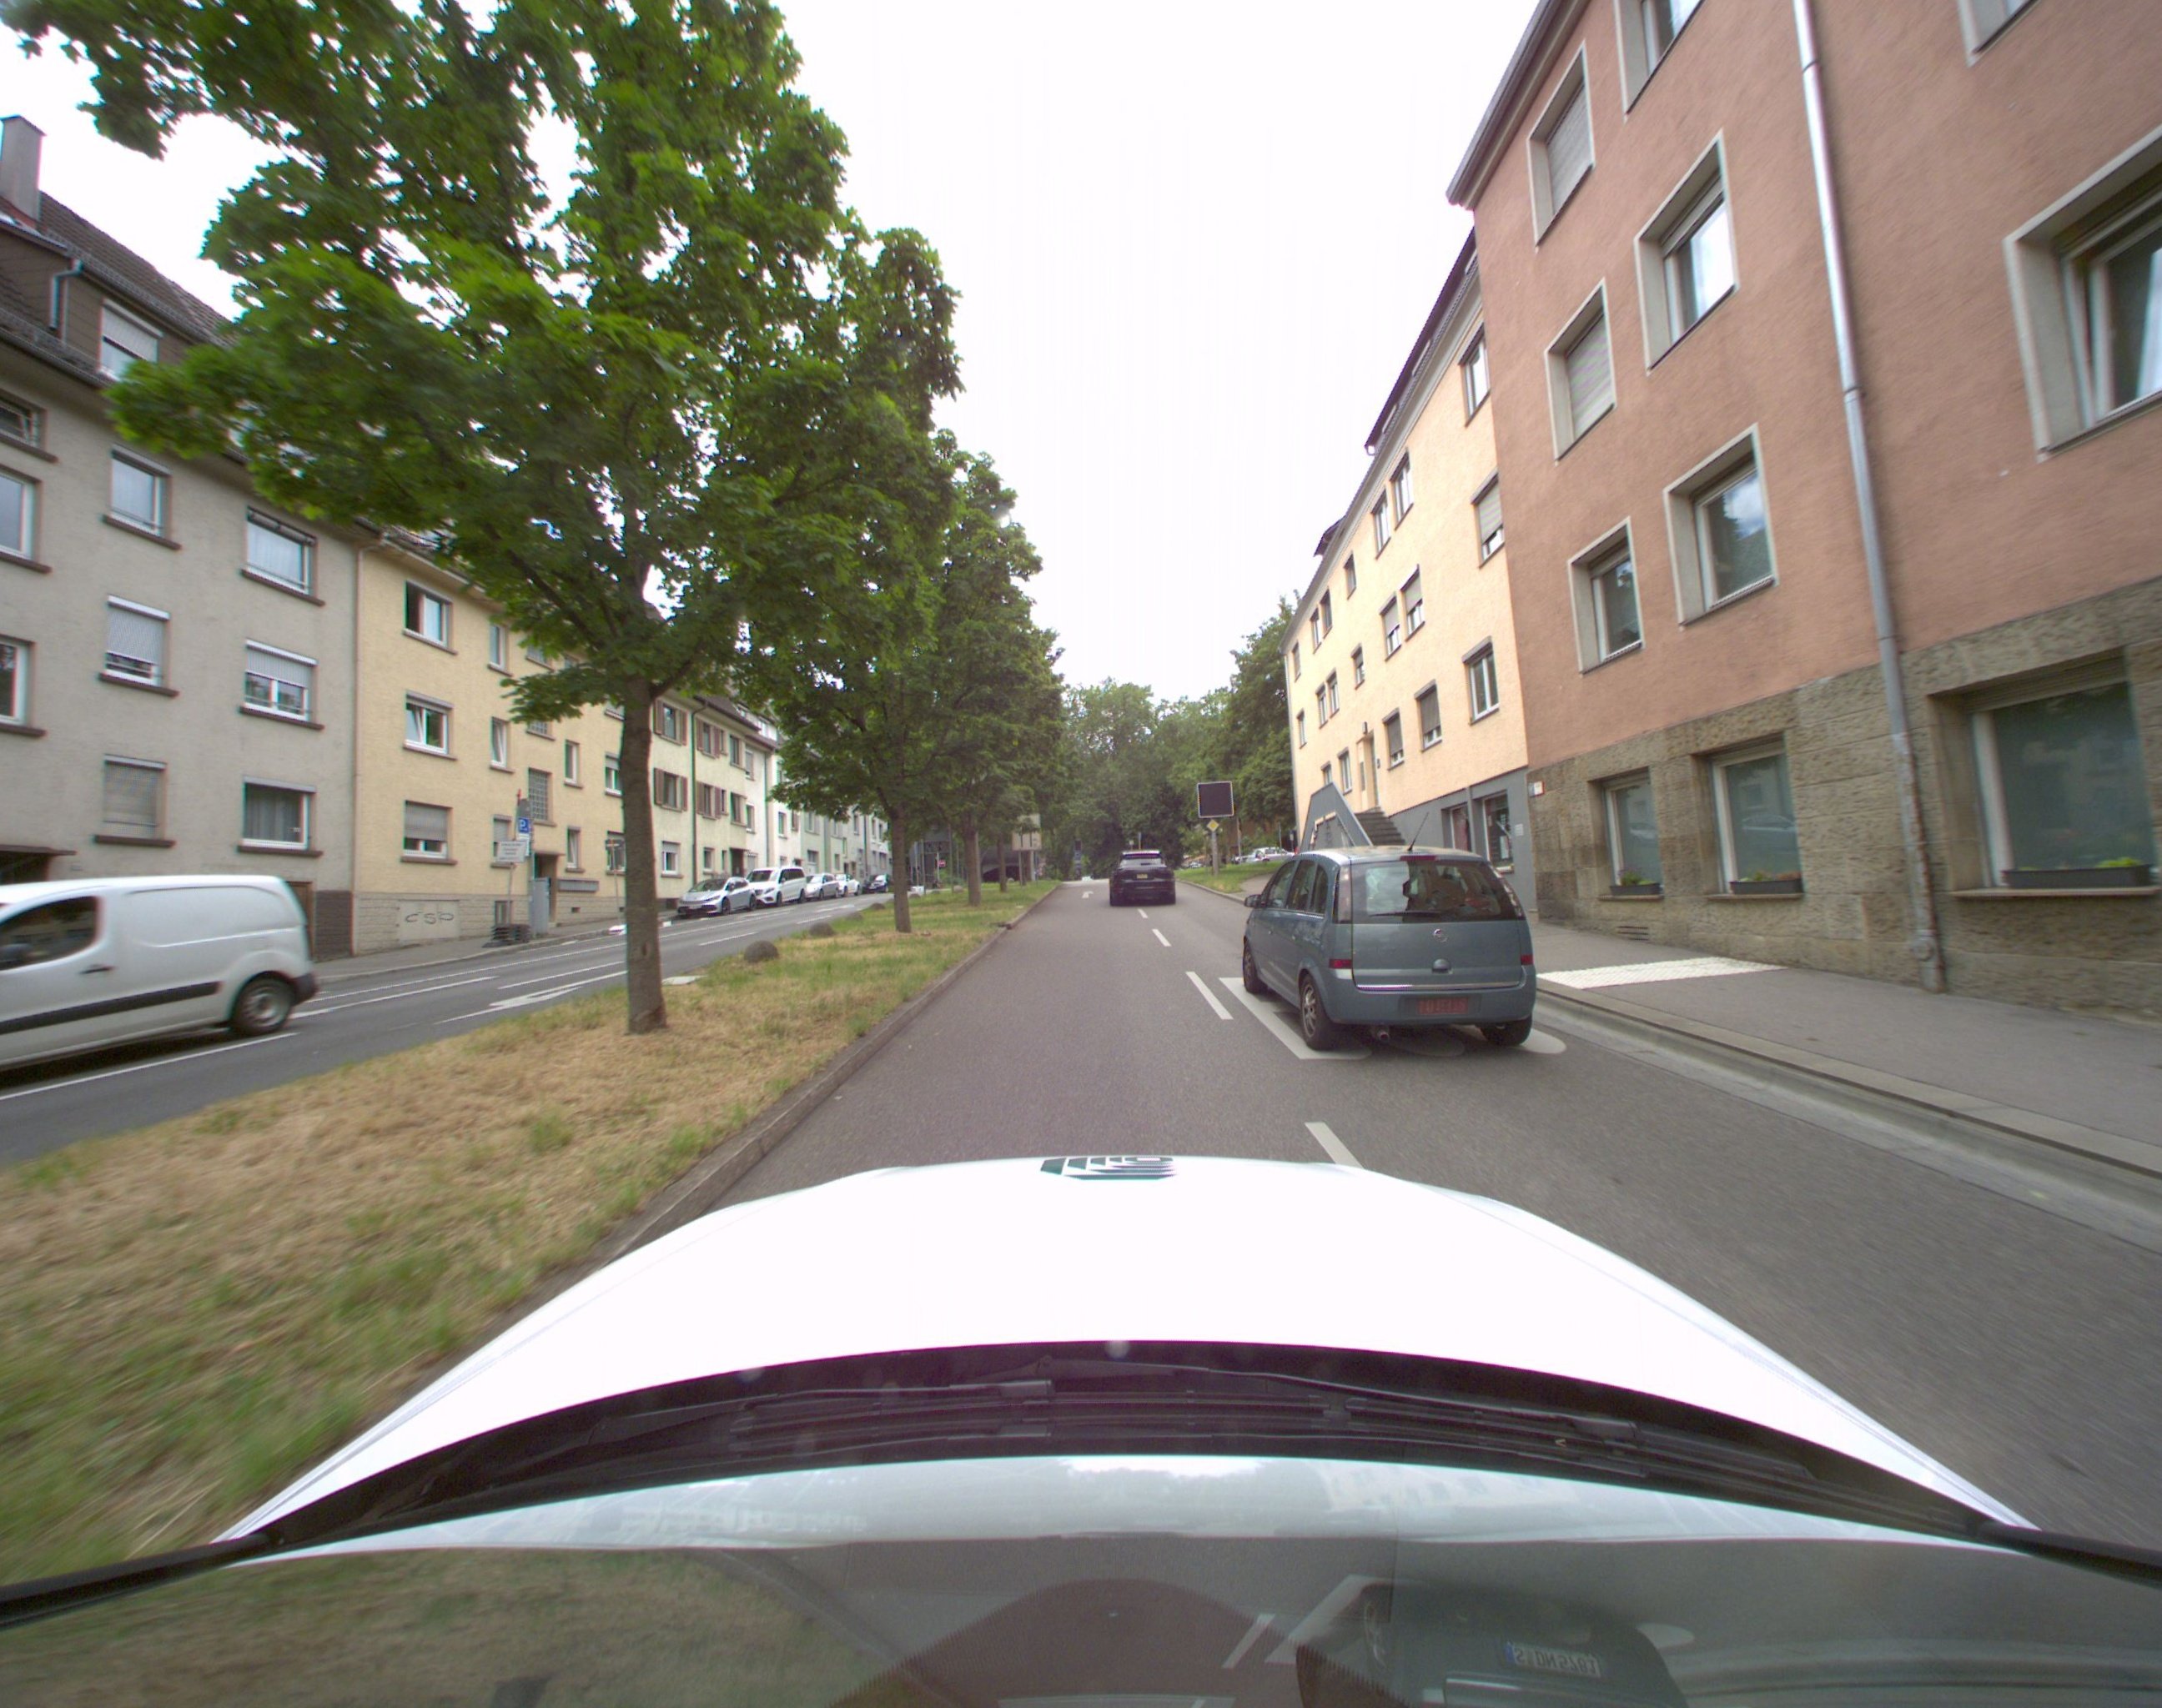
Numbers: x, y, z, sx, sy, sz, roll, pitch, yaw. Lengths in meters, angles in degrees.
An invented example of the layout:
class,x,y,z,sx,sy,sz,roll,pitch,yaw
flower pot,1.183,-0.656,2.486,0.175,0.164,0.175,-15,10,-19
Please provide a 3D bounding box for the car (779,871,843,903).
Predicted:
class,x,y,z,sx,sy,sz,roll,pitch,yaw
car,-14.792,1.771,44.842,1.987,1.552,4.381,-3,-1,0

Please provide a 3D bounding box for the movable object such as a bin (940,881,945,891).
class,x,y,z,sx,sy,sz,roll,pitch,yaw
movable object such as a bin,-13.842,3.175,81.361,0.516,0.968,0.442,1,-3,-15

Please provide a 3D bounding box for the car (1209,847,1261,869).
class,x,y,z,sx,sy,sz,roll,pitch,yaw
car,12.093,0.330,63.759,4.024,1.418,1.975,-3,-1,-45

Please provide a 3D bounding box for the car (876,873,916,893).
class,x,y,z,sx,sy,sz,roll,pitch,yaw
car,-14.512,2.245,64.119,1.986,1.400,4.518,-4,-1,1

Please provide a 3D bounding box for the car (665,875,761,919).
class,x,y,z,sx,sy,sz,roll,pitch,yaw
car,-14.959,1.706,33.381,1.987,1.552,4.157,-3,-1,0

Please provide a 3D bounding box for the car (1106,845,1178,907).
class,x,y,z,sx,sy,sz,roll,pitch,yaw
car,1.853,0.679,25.572,1.986,1.653,4.002,-4,-1,2

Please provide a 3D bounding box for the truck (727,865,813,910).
class,x,y,z,sx,sy,sz,roll,pitch,yaw
truck,-14.905,1.545,39.377,1.987,1.920,5.346,-3,-1,0

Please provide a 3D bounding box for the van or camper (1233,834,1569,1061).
class,x,y,z,sx,sy,sz,roll,pitch,yaw
van or camper,2.614,0.671,7.616,1.729,1.578,3.646,-1,0,1

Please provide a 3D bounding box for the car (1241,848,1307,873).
class,x,y,z,sx,sy,sz,roll,pitch,yaw
car,13.863,0.469,58.565,4.119,1.428,1.856,-4,0,-11

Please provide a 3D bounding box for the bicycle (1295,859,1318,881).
class,x,y,z,sx,sy,sz,roll,pitch,yaw
bicycle,8.573,0.588,30.943,0.486,0.773,1.559,-4,-1,4

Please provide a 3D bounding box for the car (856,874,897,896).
class,x,y,z,sx,sy,sz,roll,pitch,yaw
car,-14.827,2.220,59.290,1.989,1.423,4.207,-3,-1,-3

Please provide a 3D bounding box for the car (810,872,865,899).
class,x,y,z,sx,sy,sz,roll,pitch,yaw
car,-14.892,1.903,50.006,1.986,1.474,4.159,-3,-1,1

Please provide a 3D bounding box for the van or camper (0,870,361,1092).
class,x,y,z,sx,sy,sz,roll,pitch,yaw
van or camper,-9.720,1.114,7.493,1.901,1.761,4.656,-4,-1,1

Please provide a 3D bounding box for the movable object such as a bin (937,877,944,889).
class,x,y,z,sx,sy,sz,roll,pitch,yaw
movable object such as a bin,-14.118,2.961,81.902,0.605,1.186,0.489,1,-3,-15
